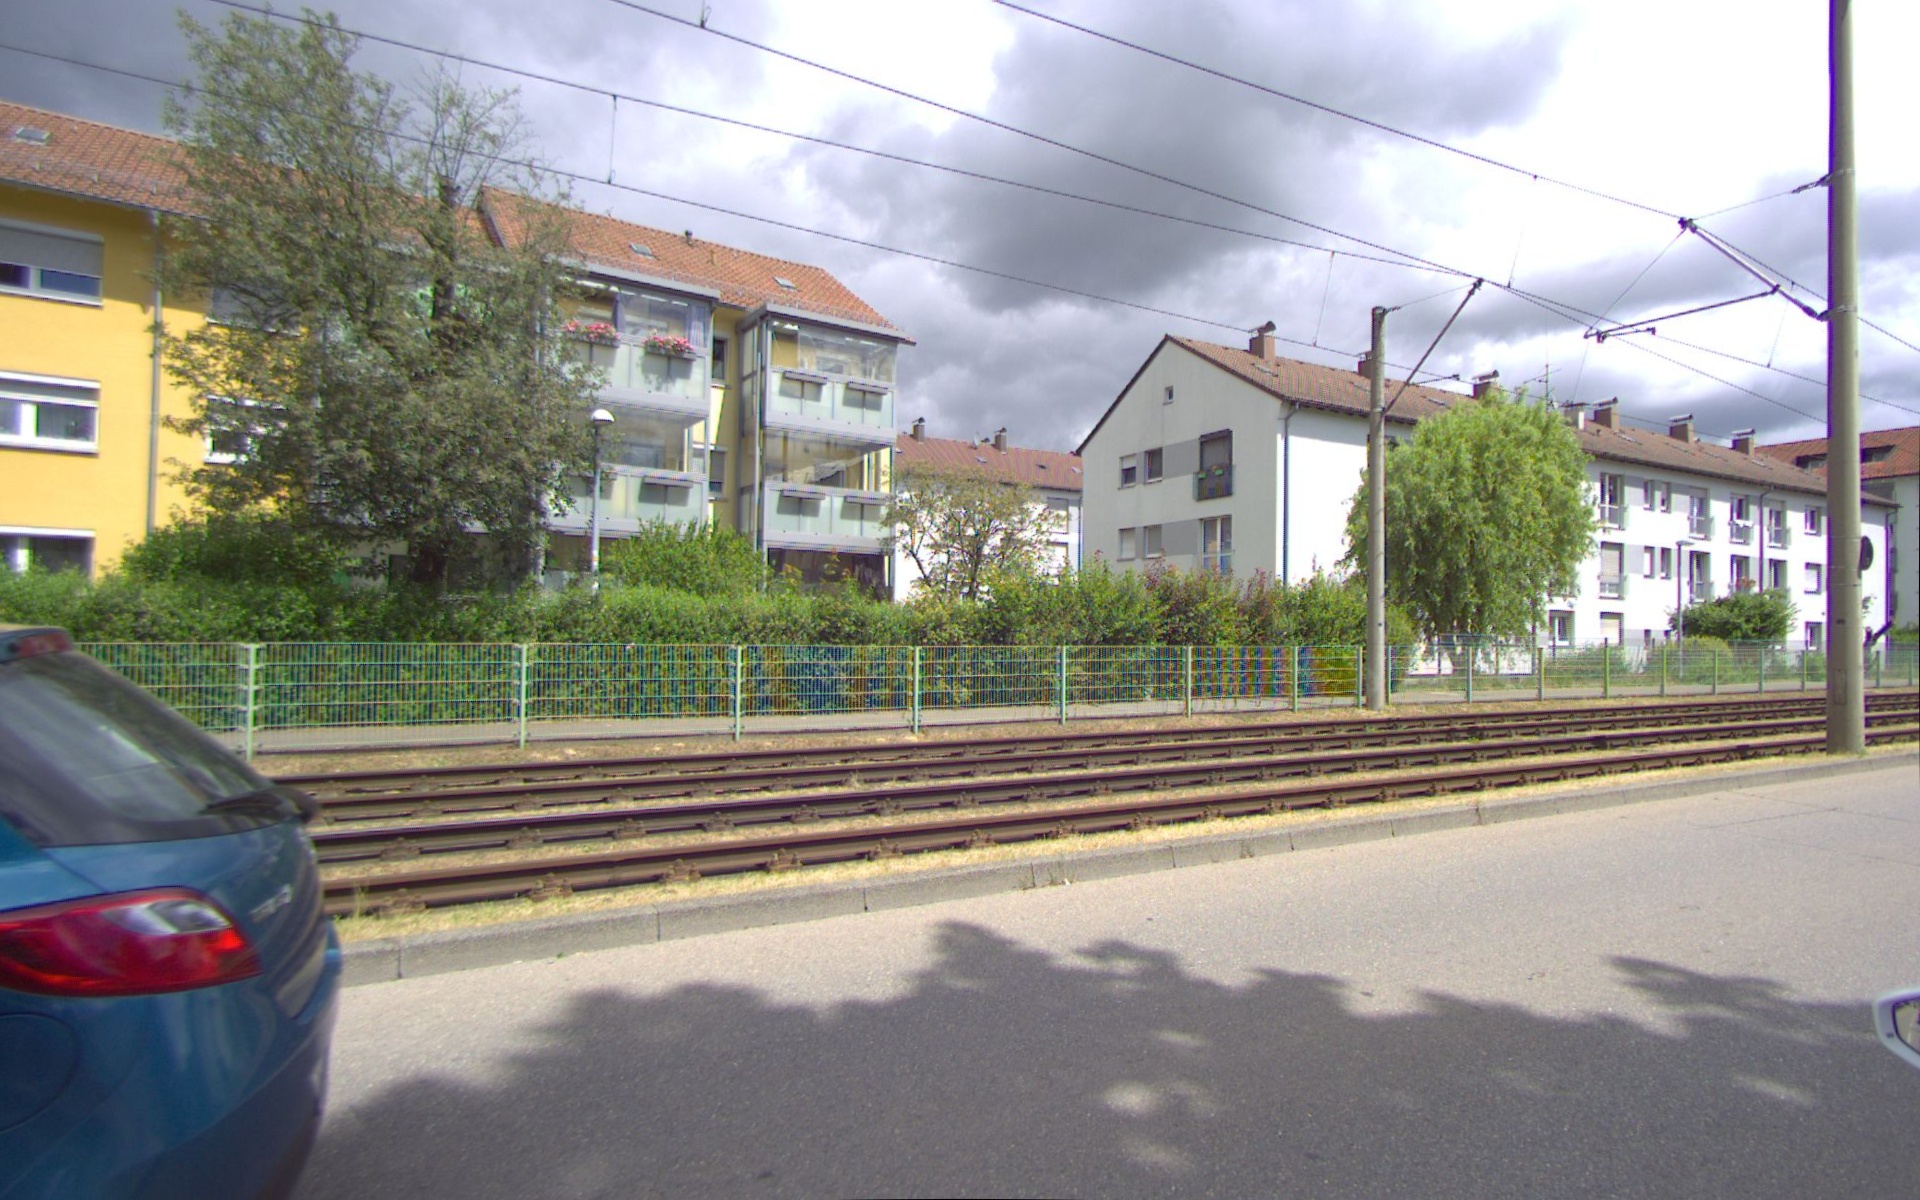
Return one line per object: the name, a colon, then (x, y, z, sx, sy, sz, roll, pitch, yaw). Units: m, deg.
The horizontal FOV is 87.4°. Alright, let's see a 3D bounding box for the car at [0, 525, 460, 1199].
car: (-2.745, 0.644, 1.428, 3.539, 1.545, 1.616, 2, -1, -30)
